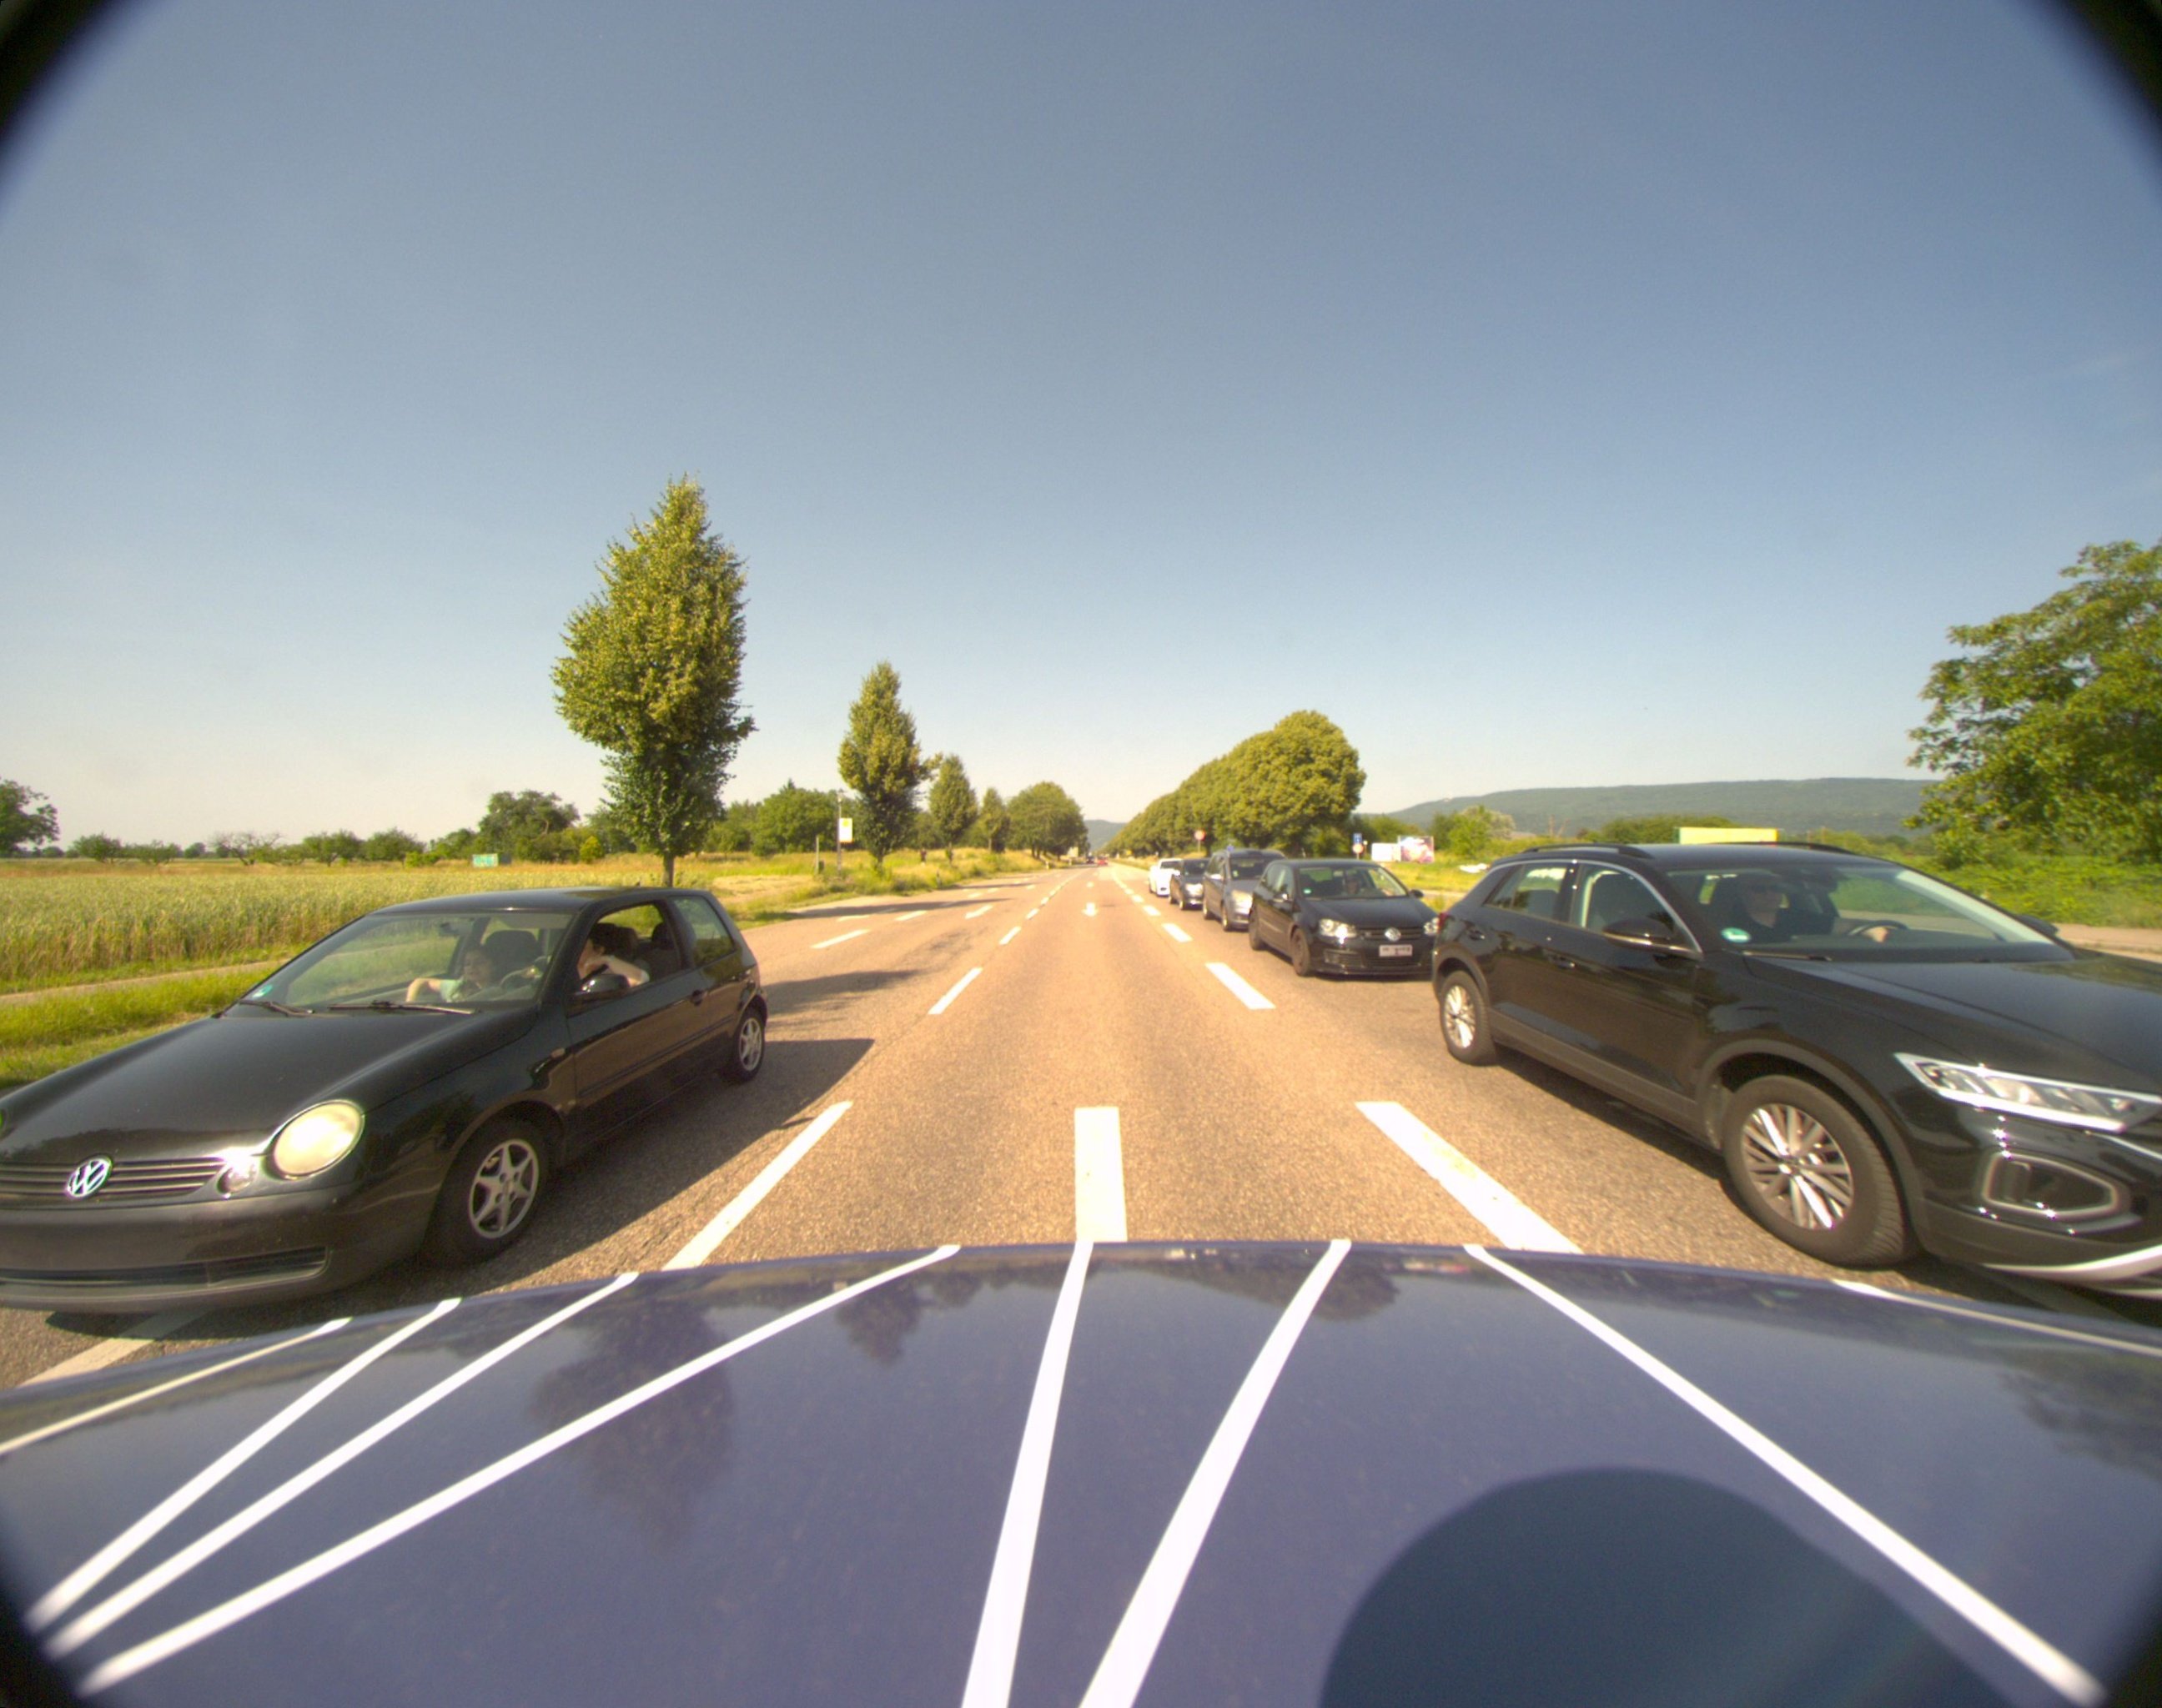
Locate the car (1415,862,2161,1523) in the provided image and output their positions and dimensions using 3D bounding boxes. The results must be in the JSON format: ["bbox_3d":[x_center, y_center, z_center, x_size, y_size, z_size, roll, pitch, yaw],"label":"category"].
[{"bbox_3d":[3.448,0.848,3.880,1.733,1.538,4.098,-1,0,1],"label":"car"}]

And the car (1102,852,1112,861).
[{"bbox_3d":[4.404,0.356,129.060,1.680,1.499,3.725,0,0,1],"label":"car"}]

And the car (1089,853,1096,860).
[{"bbox_3d":[2.574,0.571,171.246,1.680,1.499,3.725,0,0,1],"label":"car"}]

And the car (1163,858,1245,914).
[{"bbox_3d":[3.480,0.863,22.185,1.719,1.402,4.355,-2,0,1],"label":"car"}]

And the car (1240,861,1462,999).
[{"bbox_3d":[3.426,0.867,10.485,1.670,1.466,4.098,-1,0,1],"label":"car"}]

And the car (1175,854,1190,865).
[{"bbox_3d":[15.996,0.829,119.500,1.619,1.434,3.775,-7,1,-1],"label":"car"}]

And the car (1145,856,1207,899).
[{"bbox_3d":[3.555,0.841,29.192,1.808,1.417,4.641,-1,0,1],"label":"car"}]

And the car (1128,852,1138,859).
[{"bbox_3d":[12.039,0.284,175.508,1.887,1.506,4.148,-2,0,1],"label":"car"}]

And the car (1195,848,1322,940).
[{"bbox_3d":[3.608,0.742,16.256,1.745,1.662,4.357,-1,0,1],"label":"car"}]

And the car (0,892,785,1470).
[{"bbox_3d":[-3.113,1.029,3.954,1.629,1.425,3.622,-2,0,1],"label":"car"}]

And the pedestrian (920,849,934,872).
[{"bbox_3d":[-12.339,0.489,60.804,0.904,1.828,1.194,0,1,-1],"label":"pedestrian"}]
